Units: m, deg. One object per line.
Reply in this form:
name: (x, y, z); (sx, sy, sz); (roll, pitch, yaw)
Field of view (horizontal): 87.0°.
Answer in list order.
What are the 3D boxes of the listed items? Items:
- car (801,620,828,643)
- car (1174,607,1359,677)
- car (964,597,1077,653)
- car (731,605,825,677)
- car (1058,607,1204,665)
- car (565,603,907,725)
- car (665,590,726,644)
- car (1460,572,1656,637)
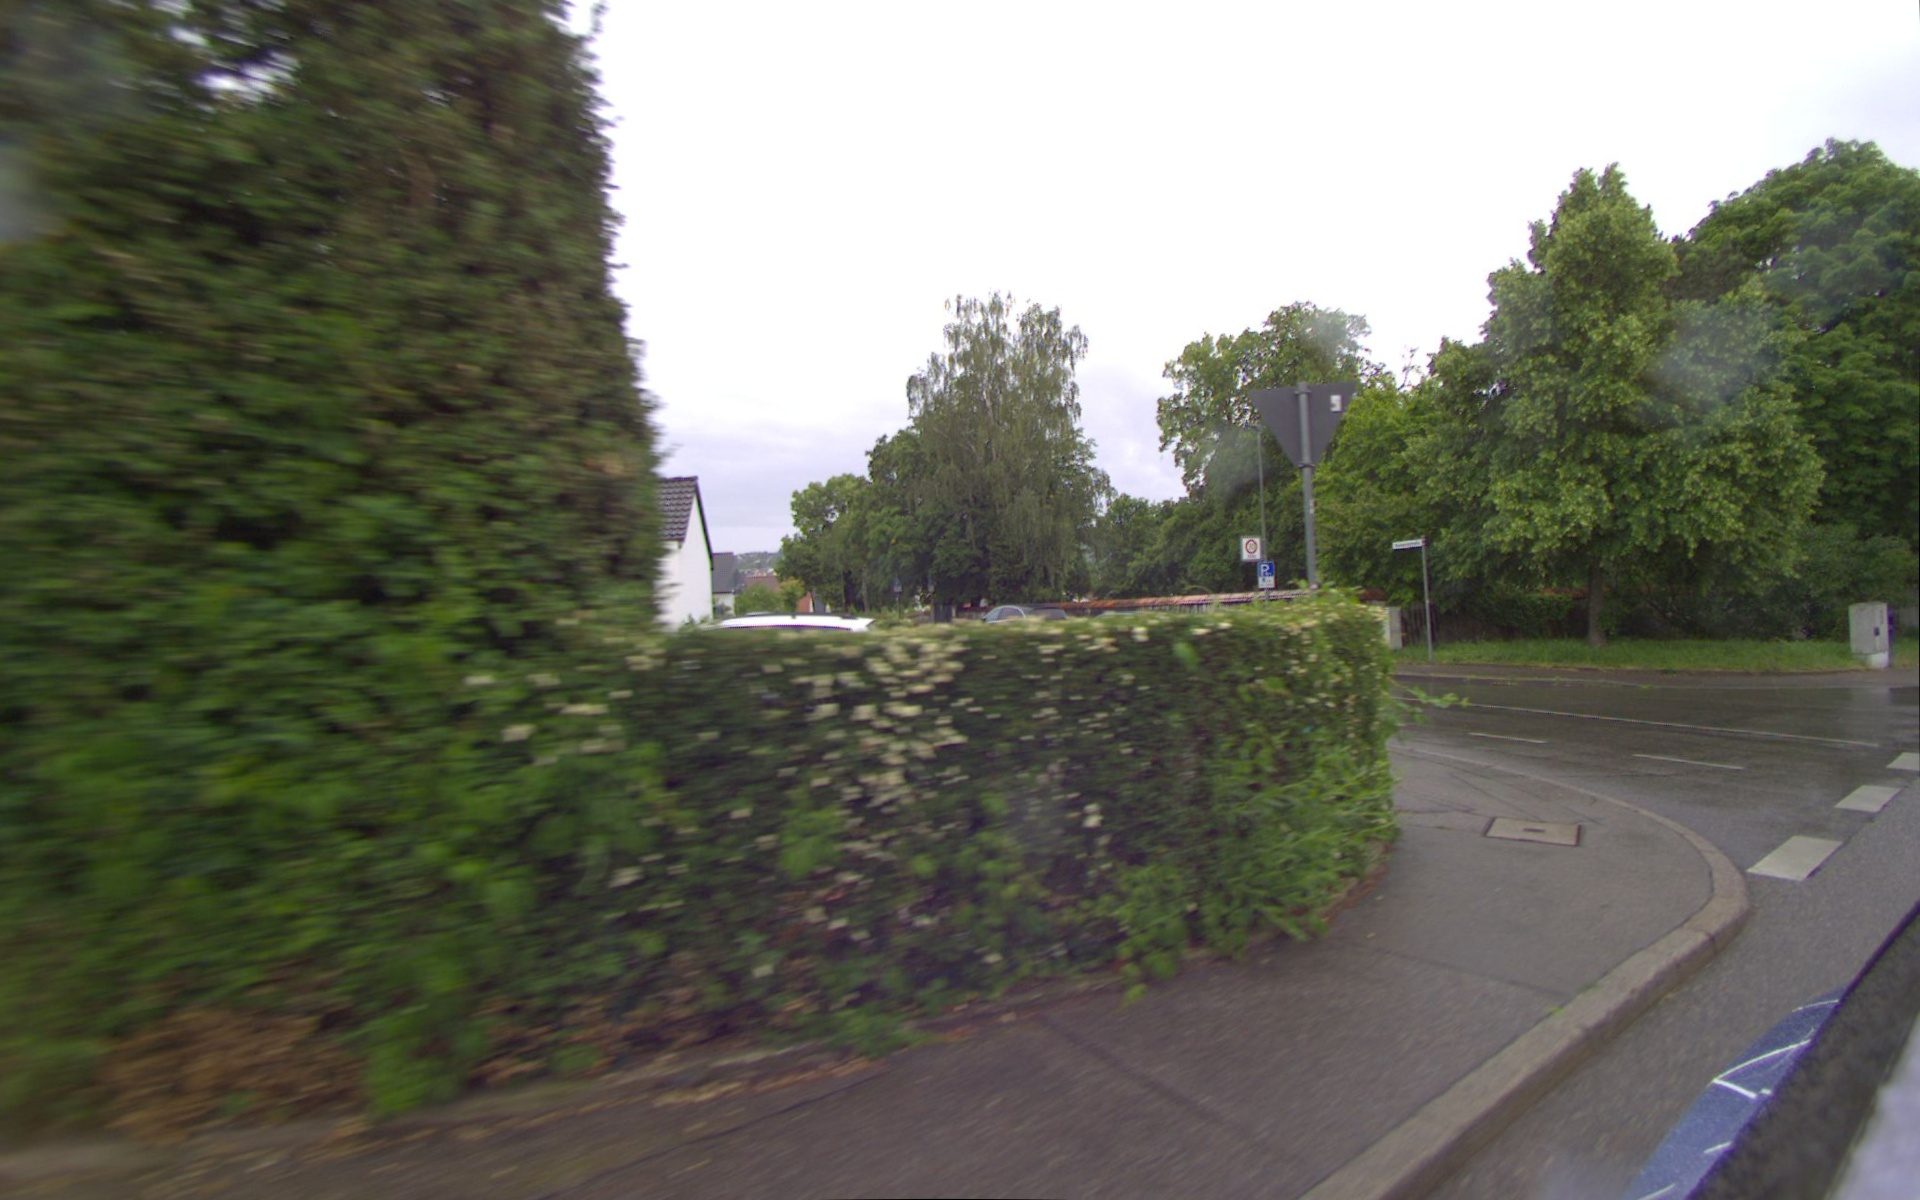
car: (-9.990, 2.128, 69.417); (1.676, 1.527, 3.788); (0, -2, -10)
car: (6.998, 0.910, 23.557); (1.795, 1.460, 4.171); (0, -1, -24)
car: (1.905, 0.794, 33.554); (1.795, 1.749, 4.472); (0, -1, -26)
car: (-4.238, 0.884, 23.130); (1.830, 1.483, 4.007); (0, -1, -14)
car: (4.666, 0.948, 28.293); (1.795, 1.460, 4.402); (0, -1, -26)
car: (-2.770, 0.786, 13.239); (4.068, 1.415, 2.002); (1, 1, -5)
car: (-10.802, 0.639, 41.100); (1.958, 2.039, 4.008); (0, 1, -21)
car: (14.670, 0.069, 25.095); (1.815, 1.473, 4.009); (0, 1, -16)
